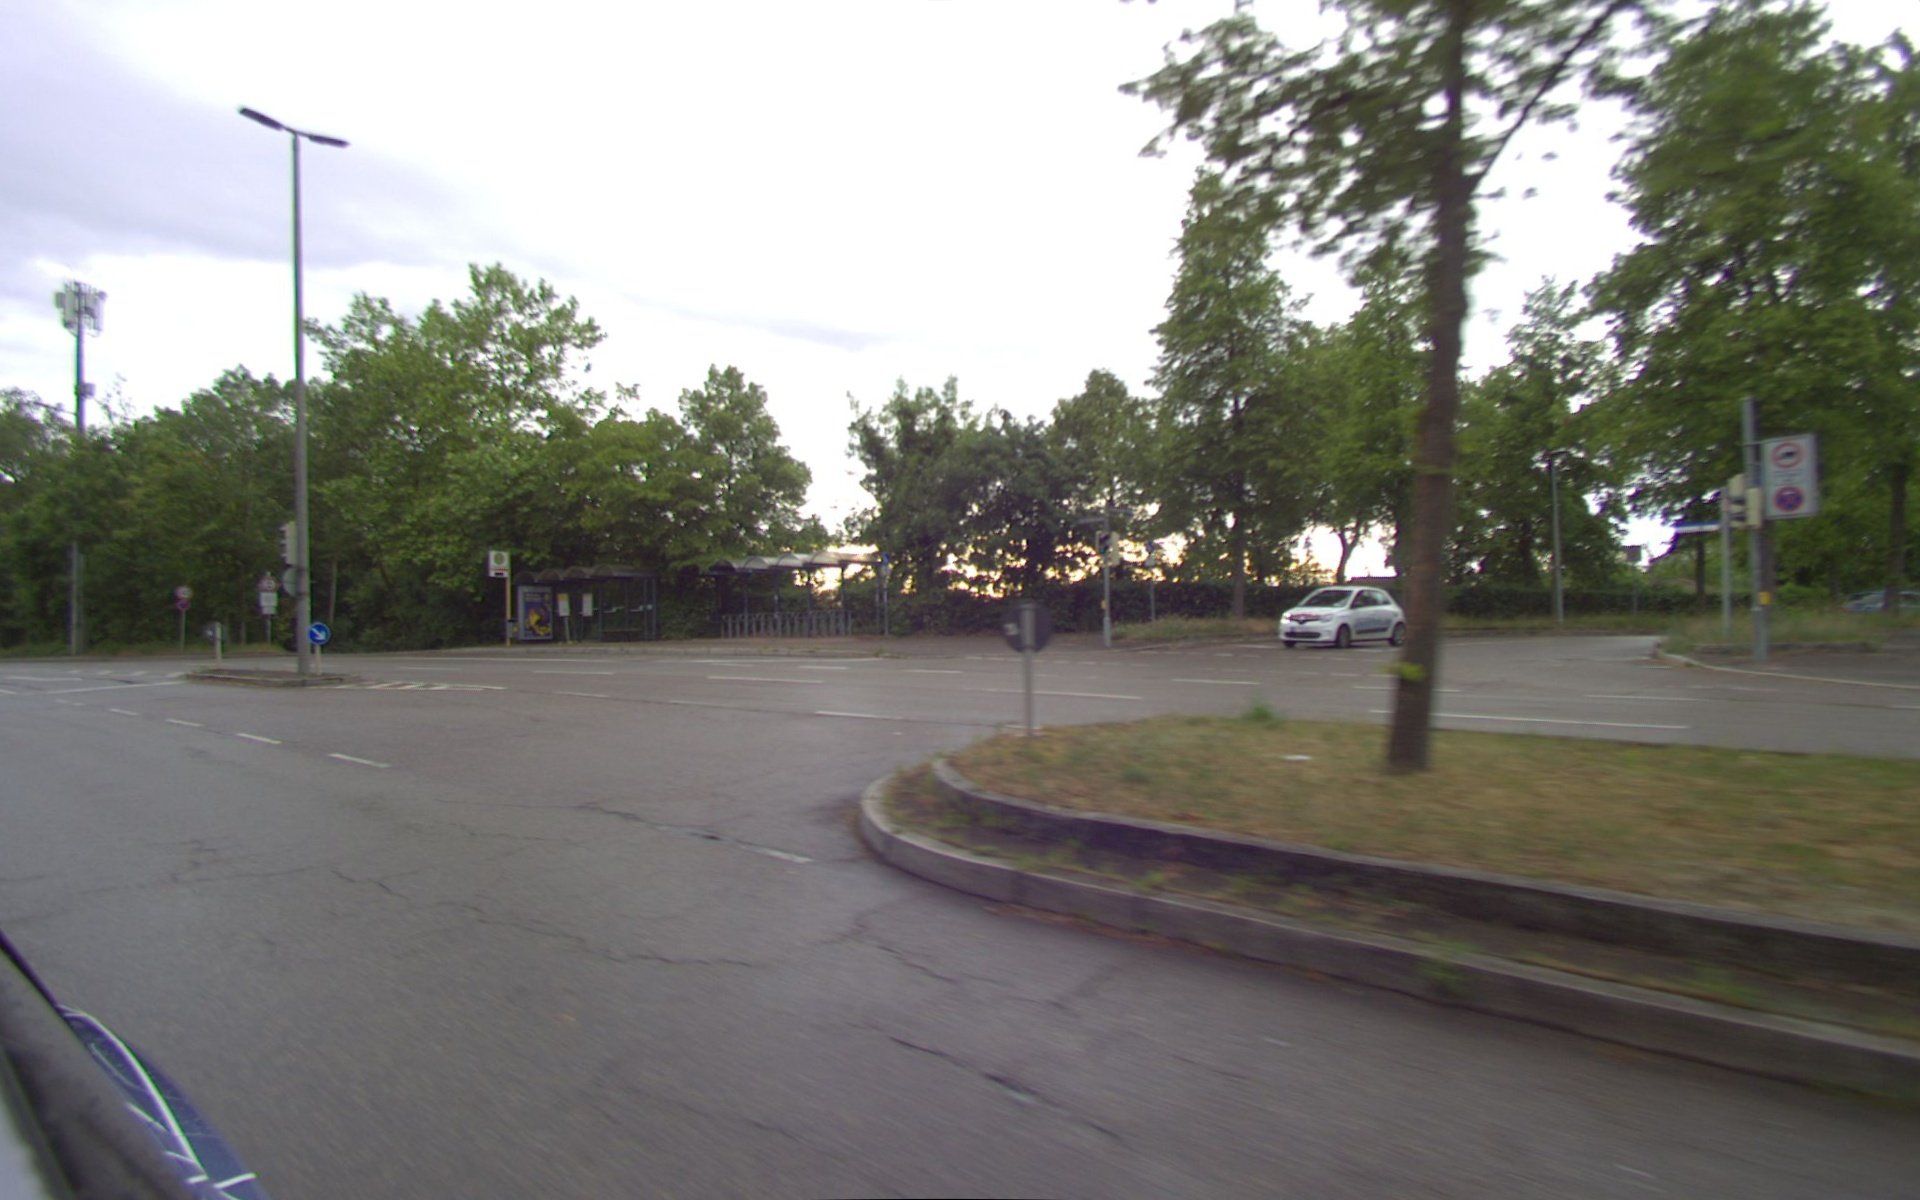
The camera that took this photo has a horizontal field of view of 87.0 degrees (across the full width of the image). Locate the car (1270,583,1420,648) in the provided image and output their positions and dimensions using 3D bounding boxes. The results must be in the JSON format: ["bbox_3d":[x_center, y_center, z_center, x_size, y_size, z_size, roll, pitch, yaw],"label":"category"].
[{"bbox_3d":[9.744,0.352,25.568,3.636,1.489,1.766,-1,1,-34],"label":"car"}]

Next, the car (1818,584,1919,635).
[{"bbox_3d":[29.408,0.276,32.101,3.869,1.502,2.006,-2,0,-28],"label":"car"}]
